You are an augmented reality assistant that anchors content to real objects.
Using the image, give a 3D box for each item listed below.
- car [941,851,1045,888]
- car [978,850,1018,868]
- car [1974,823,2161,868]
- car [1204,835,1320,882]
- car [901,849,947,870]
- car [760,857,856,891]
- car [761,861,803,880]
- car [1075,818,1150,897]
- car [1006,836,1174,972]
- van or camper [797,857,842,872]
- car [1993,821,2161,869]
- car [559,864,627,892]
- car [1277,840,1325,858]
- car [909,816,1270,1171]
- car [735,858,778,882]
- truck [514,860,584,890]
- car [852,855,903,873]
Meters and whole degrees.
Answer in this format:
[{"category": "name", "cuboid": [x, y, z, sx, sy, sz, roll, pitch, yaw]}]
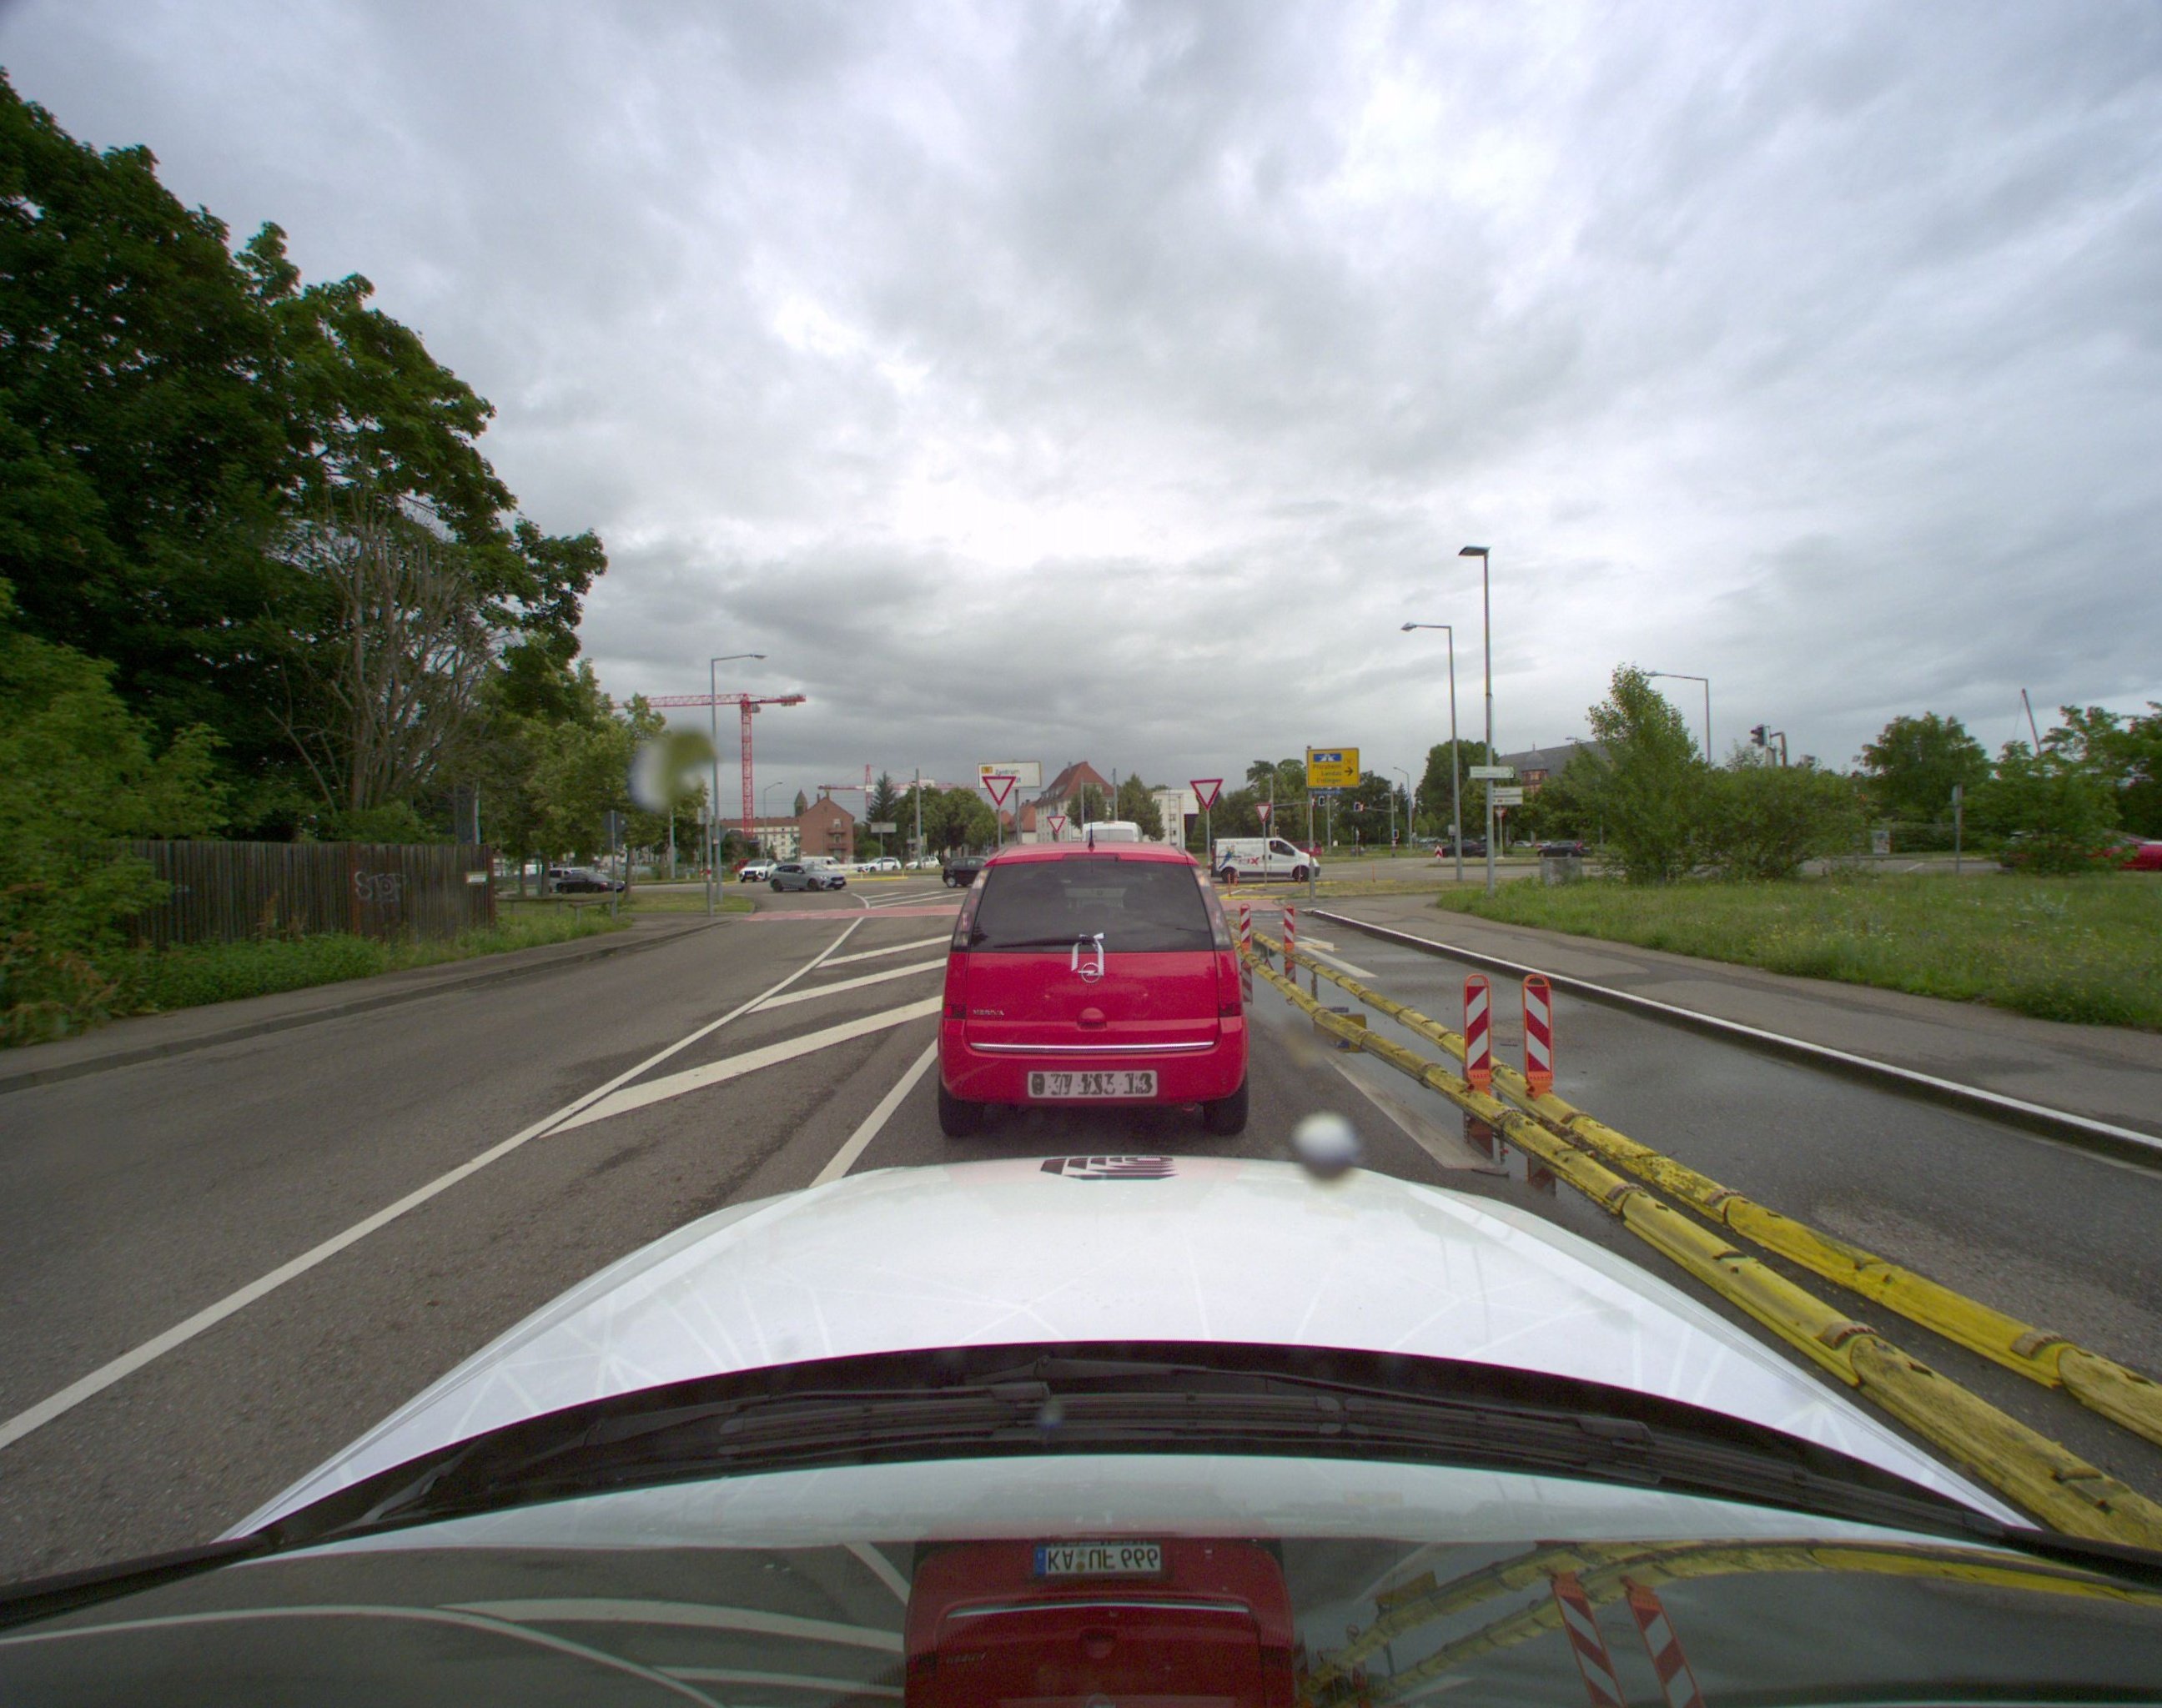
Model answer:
[{"category": "car", "cuboid": [-4.190, 0.738, 39.061, 4.391, 1.602, 2.108, -2, 0, 17]}, {"category": "car", "cuboid": [-10.206, 0.624, 100.050, 4.480, 2.013, 1.986, -2, 0, -21]}, {"category": "car", "cuboid": [35.516, -0.283, 29.353, 4.303, 1.464, 1.873, -2, 0, 44]}, {"category": "car", "cuboid": [7.990, 0.191, 36.148, 4.801, 1.900, 2.106, -2, 0, 11]}, {"category": "car", "cuboid": [-16.466, 0.598, 85.739, 1.974, 2.013, 4.509, -2, 0, 37]}, {"category": "car", "cuboid": [-14.081, 1.034, 41.975, 4.385, 1.602, 2.111, -2, 0, 25]}, {"category": "car", "cuboid": [-25.223, 1.381, 68.912, 1.923, 1.489, 4.002, -2, 0, 2]}, {"category": "car", "cuboid": [1.219, 0.104, 29.047, 2.183, 2.540, 4.973, -1, 0, 7]}, {"category": "car", "cuboid": [0.180, 0.607, 12.305, 2.052, 1.648, 4.609, -1, 0, 2]}, {"category": "van or camper", "cuboid": [-39.441, 1.579, 122.781, 6.135, 2.013, 2.007, -2, 0, 12]}, {"category": "car", "cuboid": [33.558, -0.289, 26.850, 4.301, 1.464, 2.013, -2, 0, 36]}, {"category": "car", "cuboid": [-31.960, 1.568, 53.333, 3.949, 1.684, 2.012, -2, 0, 27]}, {"category": "car", "cuboid": [25.226, -0.586, 93.434, 2.128, 1.917, 4.830, -2, 0, -44]}, {"category": "car", "cuboid": [0.094, 0.644, 5.602, 1.667, 1.640, 3.629, -1, 0, 2]}, {"category": "car", "cuboid": [-24.559, 1.189, 61.764, 1.928, 1.684, 4.180, -2, 0, -6]}, {"category": "truck", "cuboid": [-38.542, 1.539, 59.038, 3.961, 2.013, 2.006, -2, 0, 11]}, {"category": "car", "cuboid": [-20.238, 0.960, 81.296, 1.974, 1.635, 4.705, -2, 0, 37]}]
